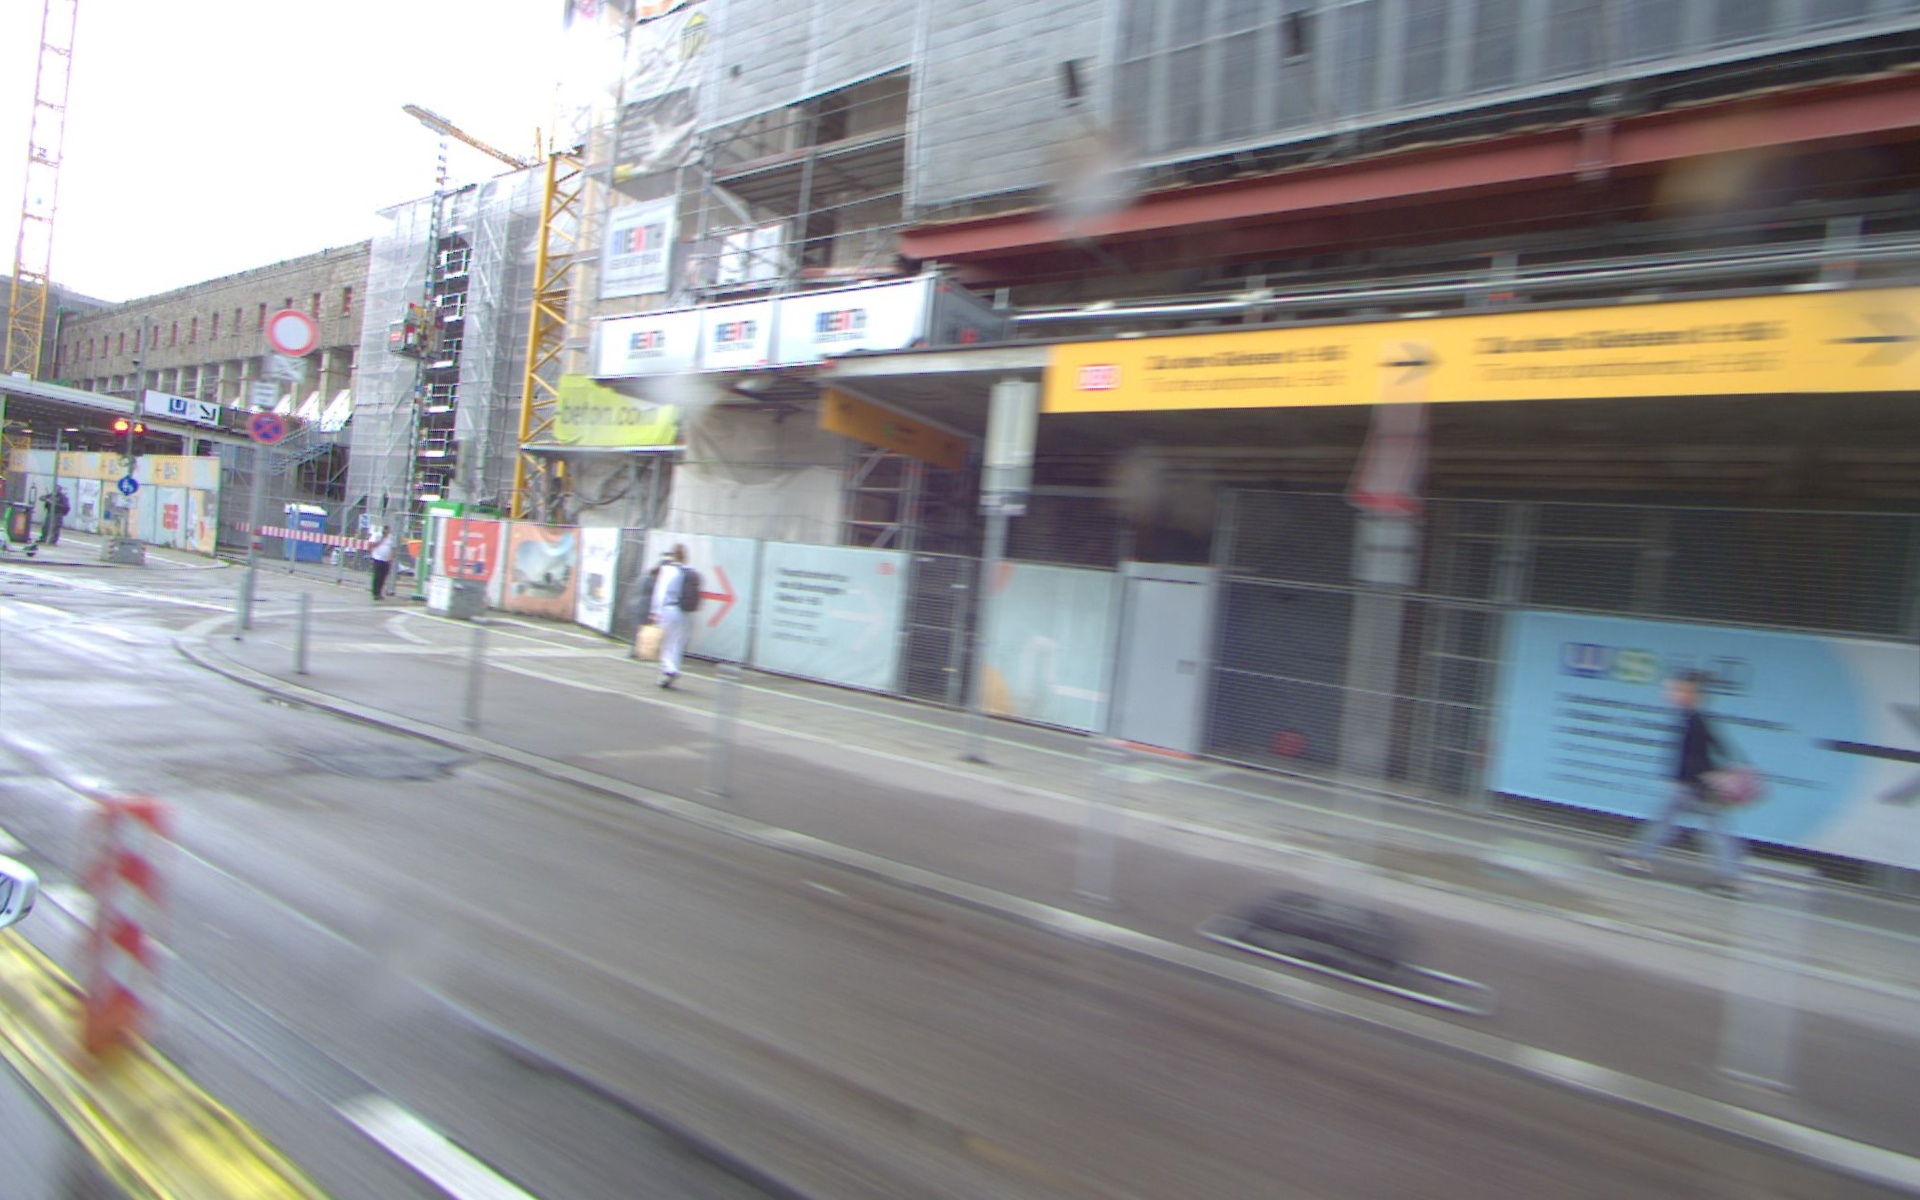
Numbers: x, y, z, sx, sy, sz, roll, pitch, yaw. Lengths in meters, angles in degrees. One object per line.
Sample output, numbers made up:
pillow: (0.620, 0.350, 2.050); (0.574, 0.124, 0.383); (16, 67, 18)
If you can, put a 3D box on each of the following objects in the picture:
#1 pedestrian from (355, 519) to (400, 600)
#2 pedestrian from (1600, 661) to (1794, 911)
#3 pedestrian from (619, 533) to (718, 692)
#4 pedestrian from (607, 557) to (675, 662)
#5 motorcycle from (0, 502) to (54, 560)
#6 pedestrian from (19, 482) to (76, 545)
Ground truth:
pedestrian: (-14.035, -0.965, 24.248); (0.648, 1.873, 0.644); (8, 4, 34)
pedestrian: (5.561, 1.356, 7.649); (0.979, 1.655, 0.549); (7, 4, 34)
pedestrian: (-3.645, 0.145, 12.593); (0.797, 1.873, 0.722); (7, 4, 34)
pedestrian: (-5.014, 0.146, 15.801); (0.655, 1.561, 0.650); (8, 4, 35)
motorcycle: (-21.045, -1.551, 22.364); (0.578, 1.180, 1.612); (7, -1, -16)
pedestrian: (-26.123, -2.452, 28.818); (0.899, 1.655, 0.822); (7, 1, -28)
